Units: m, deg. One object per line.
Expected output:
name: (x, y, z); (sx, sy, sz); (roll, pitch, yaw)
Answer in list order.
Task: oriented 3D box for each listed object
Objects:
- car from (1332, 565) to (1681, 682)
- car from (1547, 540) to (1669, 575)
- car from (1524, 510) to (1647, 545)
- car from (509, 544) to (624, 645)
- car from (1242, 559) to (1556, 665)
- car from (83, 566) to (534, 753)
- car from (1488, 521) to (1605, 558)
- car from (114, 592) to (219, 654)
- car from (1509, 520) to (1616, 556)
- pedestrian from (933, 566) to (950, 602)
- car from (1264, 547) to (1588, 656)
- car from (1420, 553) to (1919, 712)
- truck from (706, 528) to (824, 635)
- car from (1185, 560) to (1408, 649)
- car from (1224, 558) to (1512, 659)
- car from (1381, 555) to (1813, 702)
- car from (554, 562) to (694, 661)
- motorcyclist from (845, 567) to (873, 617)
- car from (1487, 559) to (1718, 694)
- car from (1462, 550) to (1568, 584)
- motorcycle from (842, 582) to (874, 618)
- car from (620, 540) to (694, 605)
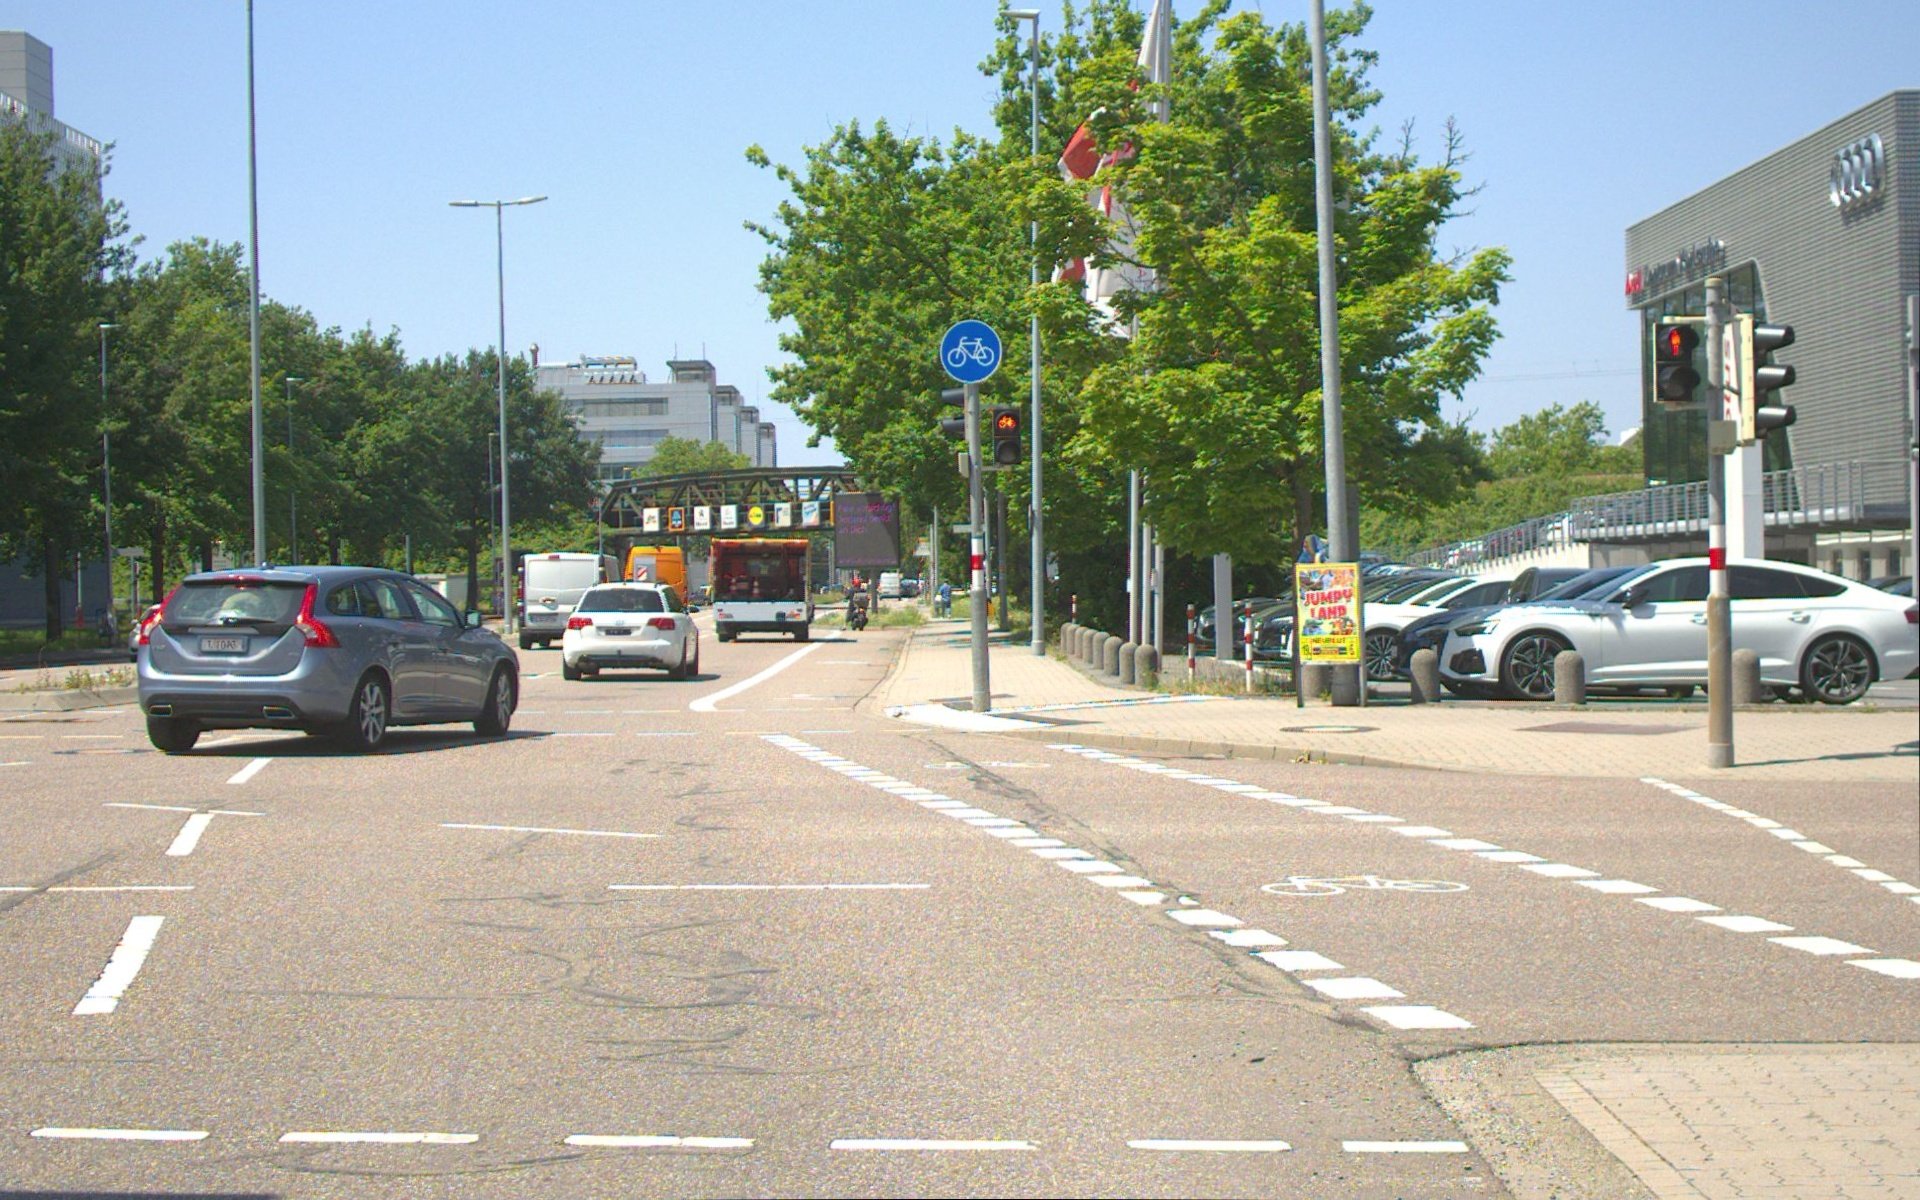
car: (6.896, 0.292, 43.709); (4.096, 1.360, 1.874); (1, 0, 0)
car: (21.938, -1.442, 116.488); (3.724, 1.127, 1.684); (1, 0, -5)
car: (21.979, -2.541, 120.782); (3.938, 1.207, 1.718); (0, 0, -5)
car: (-8.143, -0.126, 71.451); (1.993, 2.007, 4.000); (-1, 0, -1)
car: (6.242, 0.160, 49.208); (4.226, 1.385, 1.869); (1, 0, 0)
car: (-5.181, 0.434, 27.957); (1.902, 1.371, 4.228); (-1, 0, 16)
car: (22.071, -2.273, 129.383); (3.986, 1.307, 1.798); (1, 0, -5)
car: (-20.122, 0.567, 87.328); (1.743, 1.481, 4.000); (-2, 0, -1)
car: (21.852, -2.244, 124.731); (3.523, 1.235, 1.677); (1, 0, -5)
pedestrian: (-0.694, -0.624, 131.895); (0.623, 1.370, 0.564); (-1, 0, -2)
car: (6.258, 0.016, 46.496); (4.099, 1.344, 1.869); (1, 0, 0)
car: (6.866, 0.302, 33.247); (4.592, 1.385, 1.869); (1, 0, 2)
truck: (-4.587, -0.452, 81.831); (2.458, 2.402, 7.134); (1, 1, -1)
car: (5.879, 0.080, 60.328); (3.681, 1.448, 1.834); (1, 0, 0)
car: (6.132, 0.121, 52.007); (4.101, 1.400, 1.869); (1, 0, 0)
car: (6.551, 0.287, 35.684); (4.096, 1.385, 1.869); (1, 0, 0)
car: (-4.903, 0.143, 50.508); (1.744, 1.391, 3.529); (0, 1, -1)
motorcyclist: (-3.124, -0.246, 105.932); (0.719, 1.524, 0.871); (1, 0, -10)
car: (7.340, 0.277, 39.678); (1.863, 1.415, 4.662); (1, 0, 1)
car: (22.835, -1.351, 141.514); (3.986, 1.307, 1.798); (-1, 0, -5)
motorcycle: (-3.140, -0.008, 105.976); (0.716, 1.101, 1.831); (1, 0, -10)
car: (-9.666, -0.875, 109.946); (1.993, 2.007, 4.813); (1, 1, -1)
